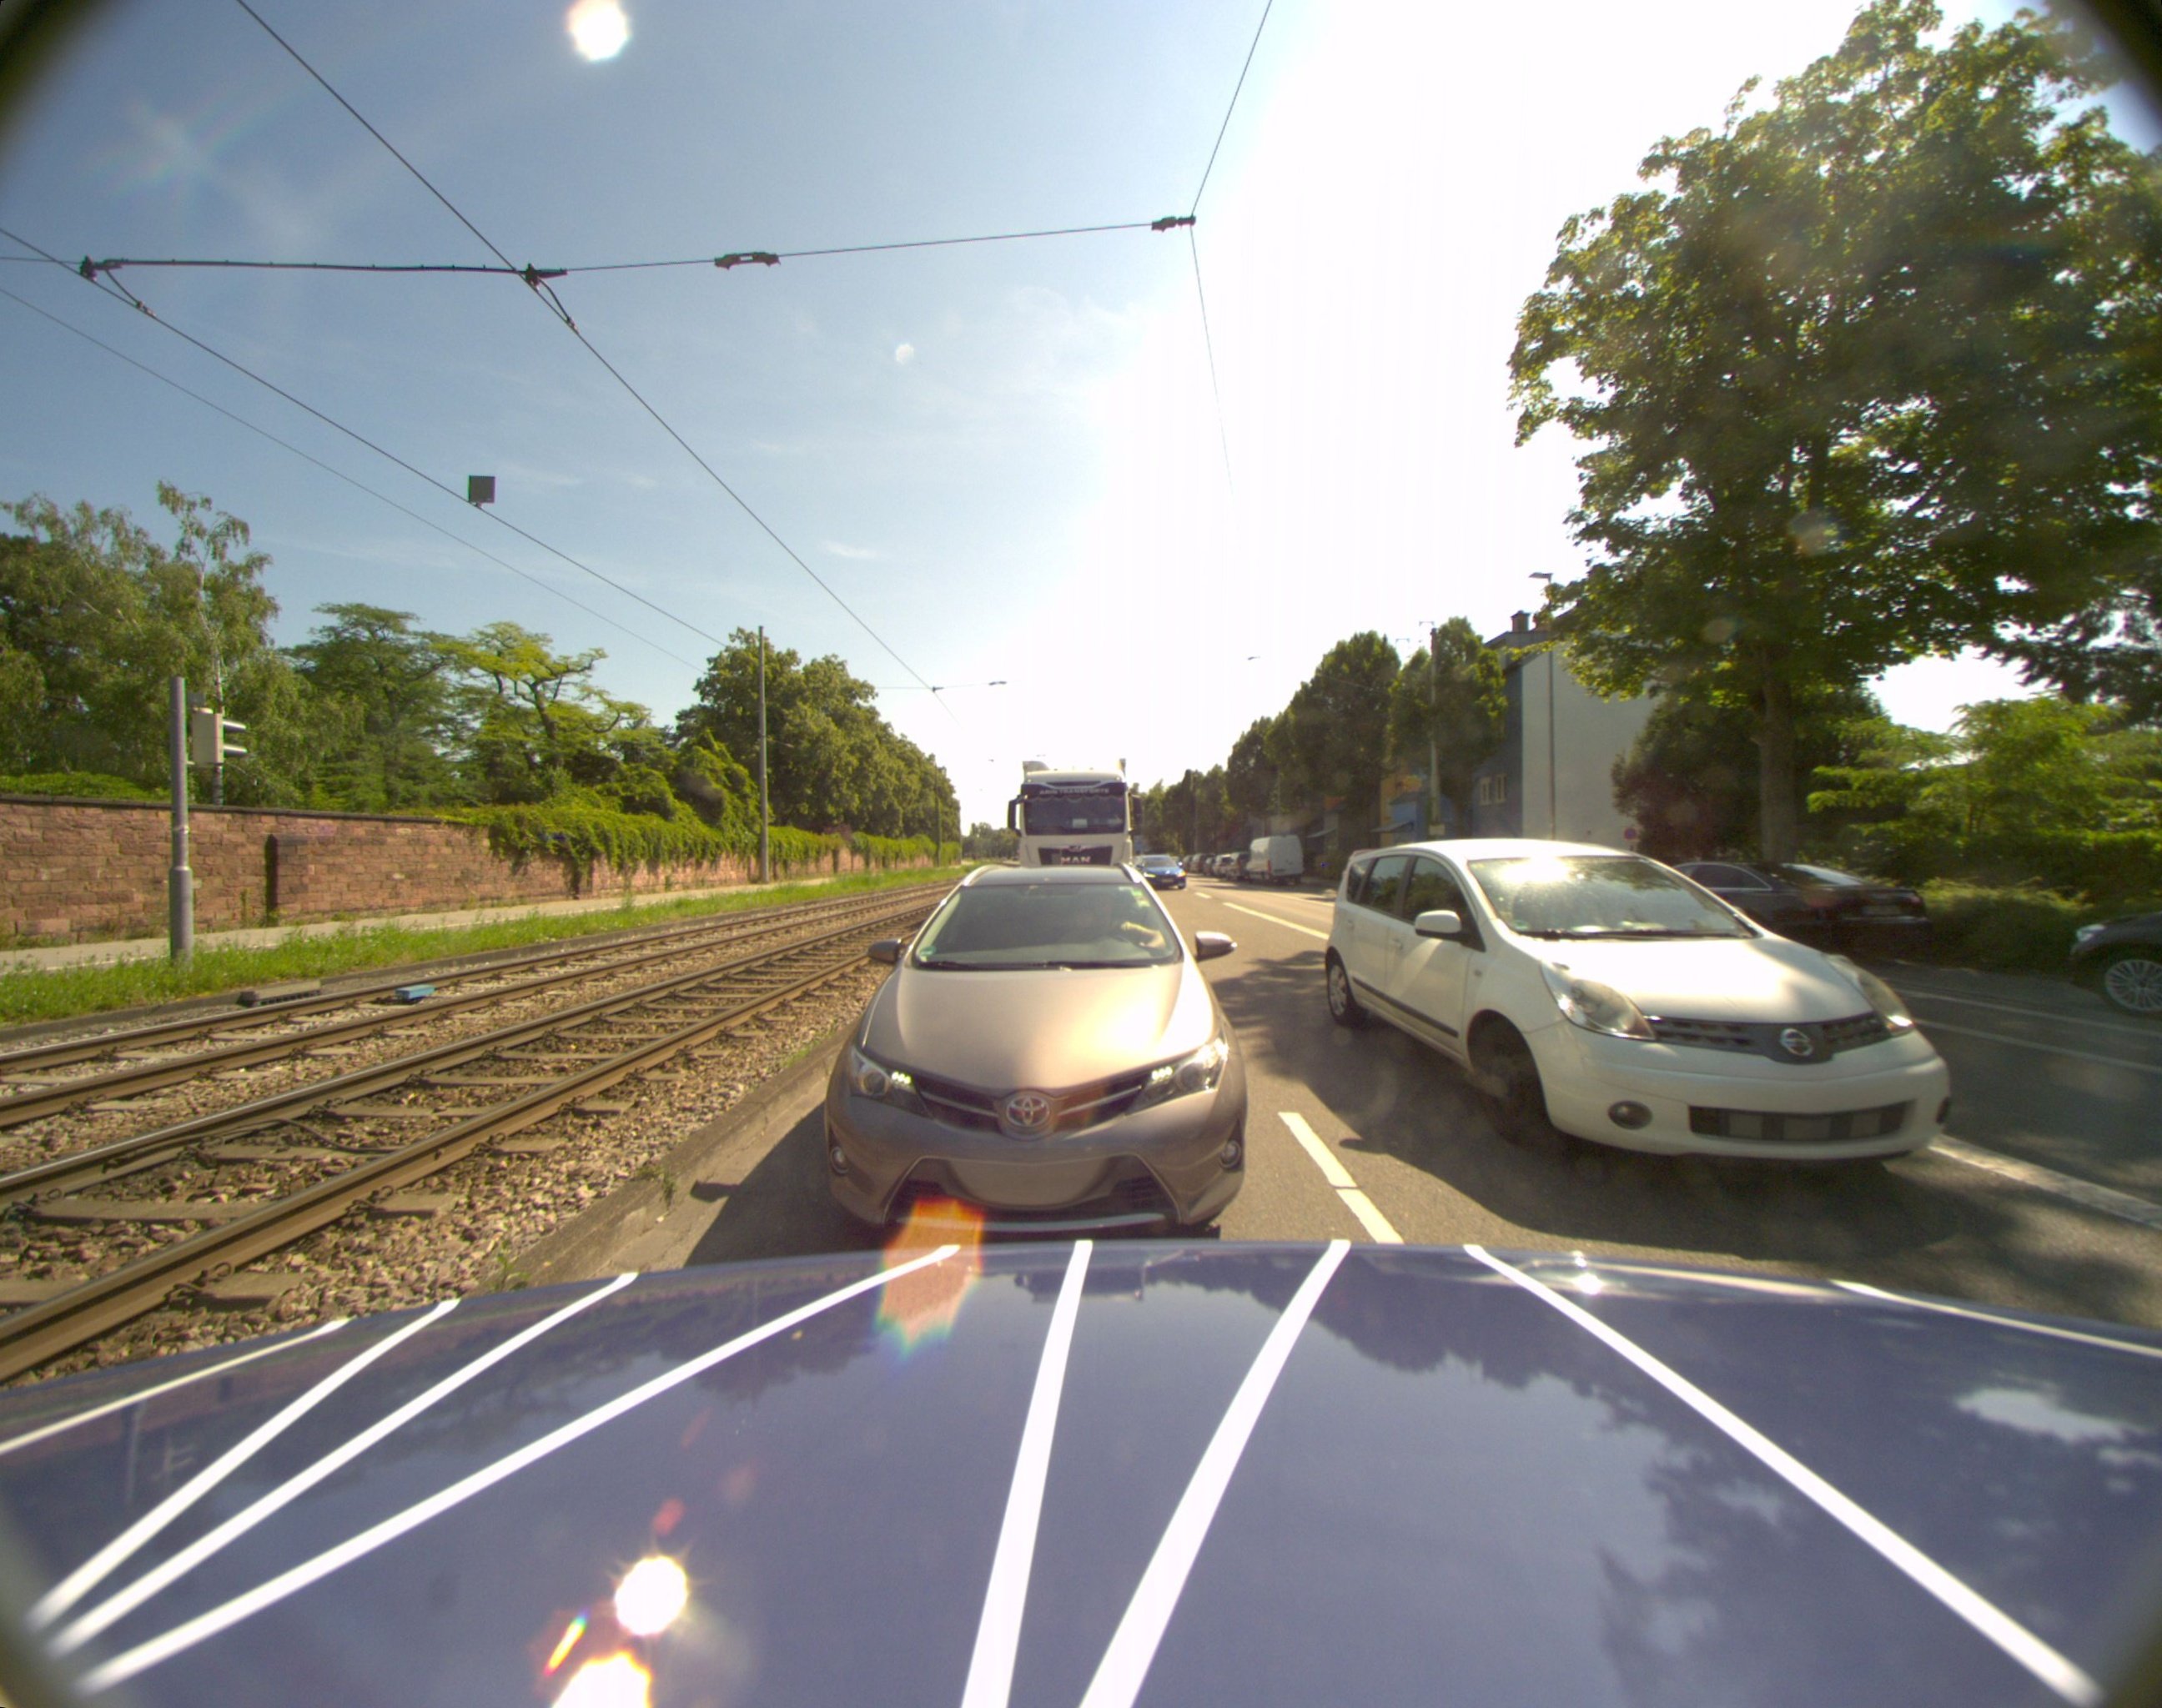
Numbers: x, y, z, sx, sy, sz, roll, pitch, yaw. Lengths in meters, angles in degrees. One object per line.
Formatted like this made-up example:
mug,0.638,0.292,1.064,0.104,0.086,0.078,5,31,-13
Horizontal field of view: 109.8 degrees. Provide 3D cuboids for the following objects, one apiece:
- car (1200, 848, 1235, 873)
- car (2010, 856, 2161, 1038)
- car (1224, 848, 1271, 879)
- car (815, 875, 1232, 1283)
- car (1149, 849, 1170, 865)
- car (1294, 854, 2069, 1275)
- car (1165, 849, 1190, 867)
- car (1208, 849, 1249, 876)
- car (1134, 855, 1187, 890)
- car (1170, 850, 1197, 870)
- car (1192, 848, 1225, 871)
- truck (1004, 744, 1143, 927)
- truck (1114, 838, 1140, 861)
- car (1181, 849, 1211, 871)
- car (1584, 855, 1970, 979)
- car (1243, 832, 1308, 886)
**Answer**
car,11.225,0.553,62.868,1.998,1.795,4.256,-6,0,0
car,10.579,0.833,5.575,1.868,1.562,4.621,-2,0,0
car,11.181,0.630,51.413,1.998,1.795,4.769,-6,0,0
car,-0.194,0.909,4.878,1.573,1.422,4.000,0,0,1
car,10.092,0.333,97.478,1.998,1.795,4.769,-6,0,0
car,2.895,0.797,5.126,1.666,1.538,4.546,-1,0,1
car,10.871,0.407,85.917,1.998,1.795,4.769,-6,0,0
car,11.086,0.610,57.384,1.998,1.795,4.769,-6,0,0
car,3.429,0.744,33.733,1.889,1.422,5.075,0,0,1
car,10.605,0.630,79.172,1.998,1.795,4.769,-6,0,0
car,11.289,0.474,67.679,1.998,1.795,4.769,-6,0,0
truck,-0.052,-0.407,23.522,2.935,3.856,14.912,0,0,1
truck,6.990,-0.637,116.112,2.704,3.263,6.724,-6,0,-5
car,11.036,0.562,73.383,1.998,1.795,4.769,-6,0,0
car,10.563,0.822,12.165,1.868,1.562,4.621,-1,0,-2
car,10.912,0.250,43.155,1.998,2.678,6.214,-6,0,2
